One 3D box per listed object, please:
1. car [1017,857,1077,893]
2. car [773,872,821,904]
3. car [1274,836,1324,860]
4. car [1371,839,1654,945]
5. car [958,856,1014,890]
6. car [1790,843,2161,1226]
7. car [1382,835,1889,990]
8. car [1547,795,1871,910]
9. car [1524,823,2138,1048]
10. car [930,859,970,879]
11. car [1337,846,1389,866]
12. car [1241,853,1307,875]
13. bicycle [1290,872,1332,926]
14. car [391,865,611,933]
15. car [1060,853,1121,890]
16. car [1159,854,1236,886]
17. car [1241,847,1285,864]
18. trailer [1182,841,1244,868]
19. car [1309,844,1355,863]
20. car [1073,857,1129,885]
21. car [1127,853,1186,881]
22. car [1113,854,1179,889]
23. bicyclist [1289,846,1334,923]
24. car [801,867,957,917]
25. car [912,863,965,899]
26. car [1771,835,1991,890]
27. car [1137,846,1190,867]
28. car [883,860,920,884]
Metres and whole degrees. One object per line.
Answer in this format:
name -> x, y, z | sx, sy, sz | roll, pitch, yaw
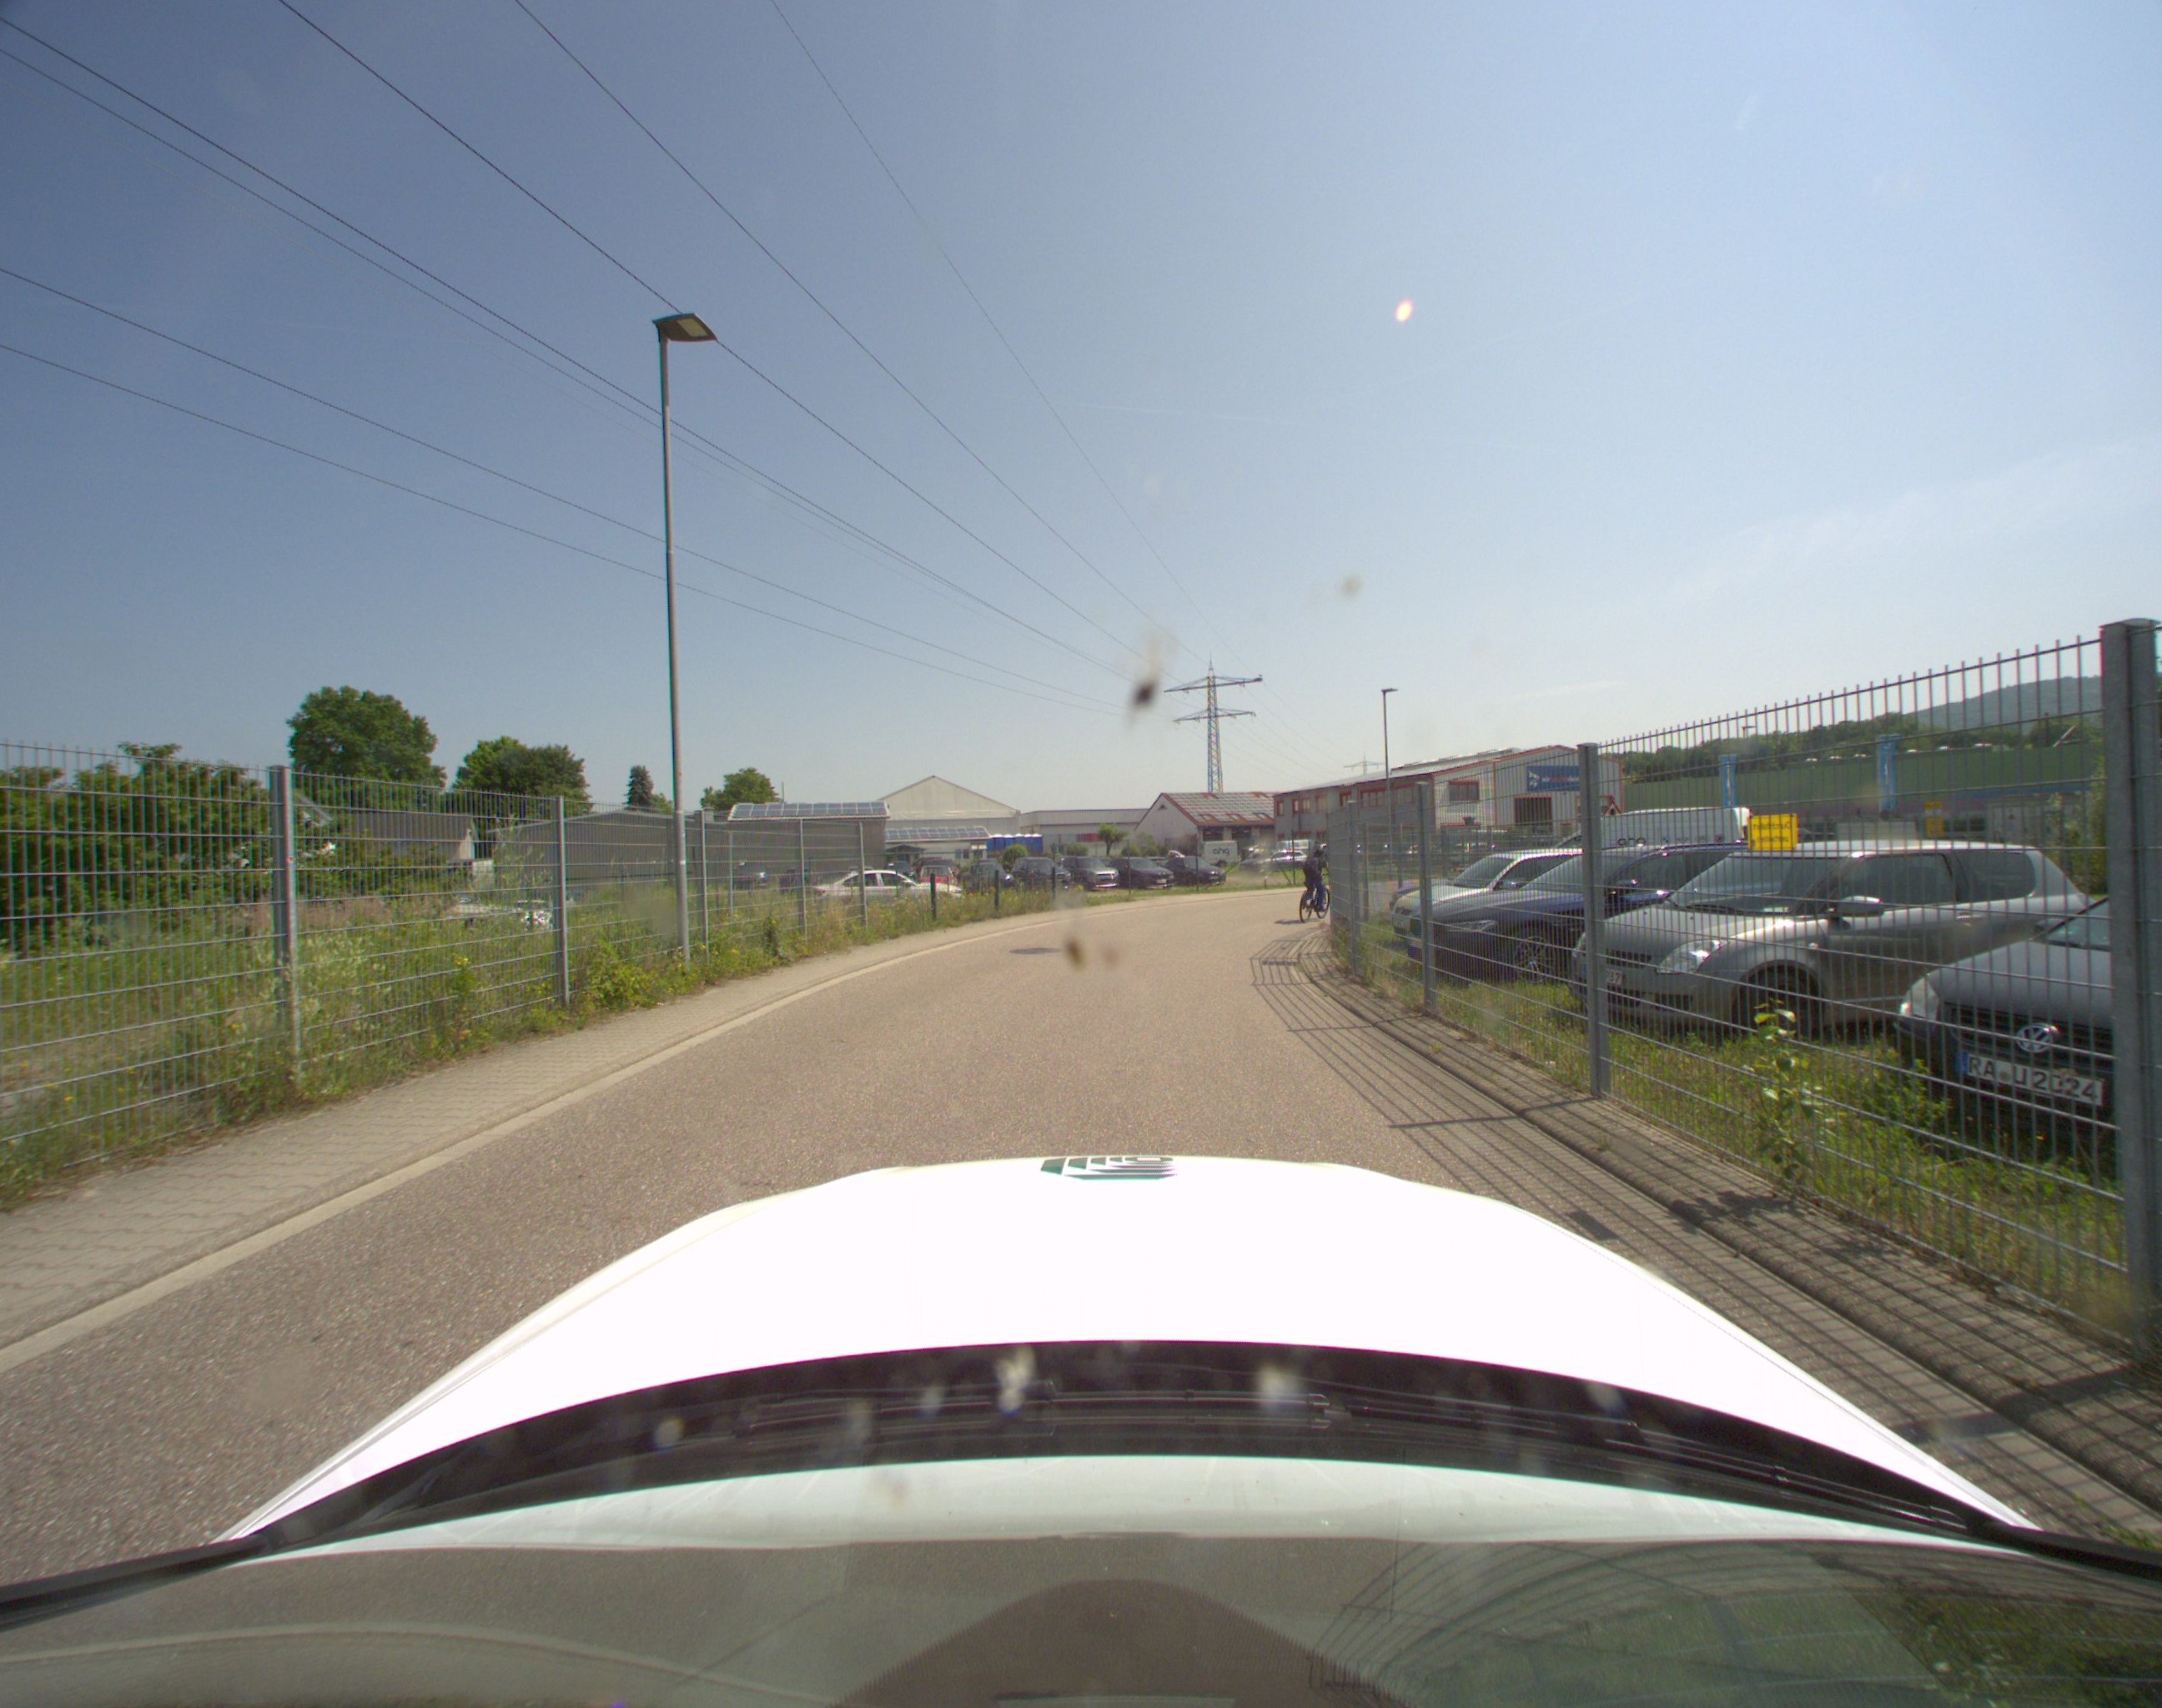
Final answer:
car -> -1.667, 0.968, 38.563 | 1.868, 1.561, 3.674 | -2, 0, -18
car -> -14.034, 1.619, 40.167 | 1.872, 1.414, 3.412 | -2, 0, -25
car -> 19.282, -0.543, 71.928 | 3.906, 1.978, 1.812 | -2, 0, -19
car -> 6.470, 0.547, 12.490 | 3.450, 1.422, 1.637 | -2, 0, 2
car -> -4.442, 0.858, 37.517 | 1.868, 1.433, 3.626 | -2, 0, -18
car -> 5.910, 0.676, 3.909 | 3.644, 1.478, 1.748 | -1, -2, -6
car -> 6.052, 0.612, 9.340 | 4.519, 1.474, 1.826 | -2, 0, 2
car -> 13.460, 0.004, 17.822 | 1.917, 2.149, 5.280 | -2, 0, -39
car -> 5.892, 0.579, 6.719 | 3.529, 1.502, 1.710 | -2, 0, -2
car -> -8.711, 0.976, 53.811 | 1.868, 1.175, 4.576 | -2, 0, -18
car -> 21.974, 0.138, 63.450 | 3.603, 1.416, 1.498 | -2, 0, -19
car -> 12.485, 0.620, 52.724 | 4.141, 1.261, 1.227 | -2, 0, -19
bicycle -> 5.112, 0.954, 18.012 | 0.679, 1.051, 1.911 | -1, 1, 22
car -> -15.586, 1.152, 22.197 | 4.435, 1.562, 2.030 | -2, 0, -18
car -> 0.399, 0.819, 39.327 | 1.868, 1.644, 3.611 | -2, 0, -18
car -> 5.819, 0.784, 41.303 | 2.001, 1.435, 4.636 | -2, 0, -18
car -> 17.606, 0.134, 78.673 | 3.906, 1.516, 1.498 | -2, 0, -19
trailer -> 10.135, 0.031, 62.701 | 4.438, 1.945, 1.712 | -2, 0, -4
car -> 21.444, -0.034, 69.625 | 3.603, 1.544, 1.498 | -2, 0, -19
car -> 1.063, 0.926, 45.740 | 1.998, 1.420, 3.979 | -2, 0, -16
car -> 4.276, 0.739, 46.839 | 1.998, 1.435, 4.400 | -2, 0, -14
car -> 3.121, 0.816, 39.701 | 1.868, 1.554, 3.747 | -2, 0, -18
bicyclist -> 5.085, 0.646, 17.939 | 0.835, 1.618, 1.045 | -1, 0, 21
car -> -6.307, 1.132, 25.512 | 4.560, 1.307, 1.857 | -2, 0, -18
car -> -6.483, 1.175, 36.725 | 1.868, 1.453, 3.420 | -2, 0, -18
car -> 20.714, 0.212, 21.202 | 1.917, 1.277, 3.883 | -2, 0, -39
car -> 6.853, 0.237, 67.688 | 3.996, 1.598, 1.866 | -2, 0, -17
car -> -11.611, 1.147, 52.575 | 1.868, 1.433, 4.576 | -2, 0, -18
